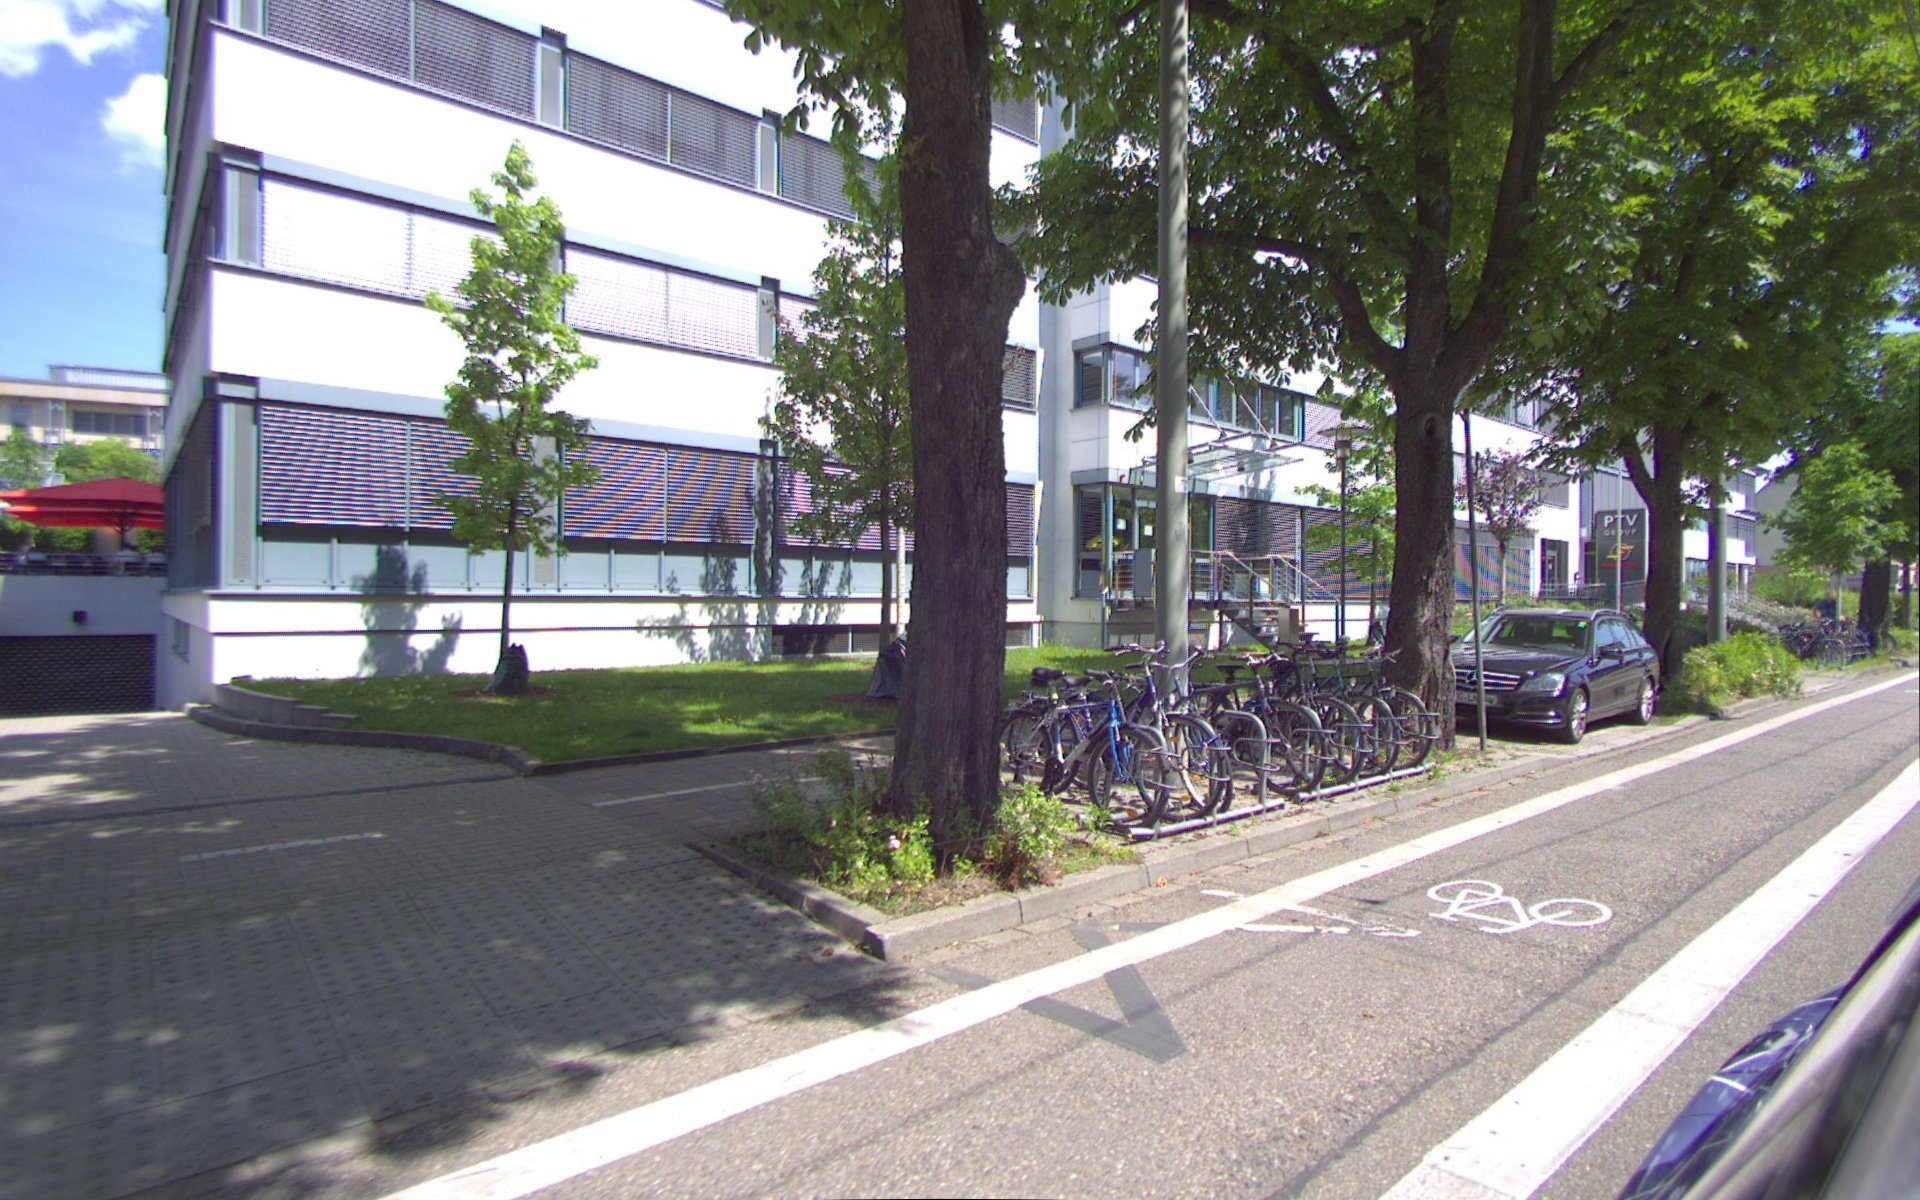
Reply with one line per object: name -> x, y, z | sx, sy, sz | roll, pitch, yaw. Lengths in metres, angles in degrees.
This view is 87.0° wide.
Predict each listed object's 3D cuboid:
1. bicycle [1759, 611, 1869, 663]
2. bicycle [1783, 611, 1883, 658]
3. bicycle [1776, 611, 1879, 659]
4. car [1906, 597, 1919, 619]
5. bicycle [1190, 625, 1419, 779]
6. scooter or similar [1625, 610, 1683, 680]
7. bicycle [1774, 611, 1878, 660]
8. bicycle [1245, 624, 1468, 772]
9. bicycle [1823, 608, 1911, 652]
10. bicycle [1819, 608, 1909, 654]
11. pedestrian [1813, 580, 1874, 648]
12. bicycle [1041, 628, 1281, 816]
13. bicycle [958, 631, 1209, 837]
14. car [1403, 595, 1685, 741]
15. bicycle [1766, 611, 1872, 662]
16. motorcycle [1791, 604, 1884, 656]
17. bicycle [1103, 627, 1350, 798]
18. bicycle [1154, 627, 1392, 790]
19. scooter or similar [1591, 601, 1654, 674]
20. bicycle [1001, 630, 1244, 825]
bicycle -> 19.494, 0.839, 23.135 | 0.560, 1.125, 1.842 | 1, -2, -43
bicycle -> 21.694, 0.840, 25.166 | 0.560, 1.125, 1.809 | 1, -2, -43
bicycle -> 20.866, 0.837, 24.374 | 0.560, 1.125, 1.809 | 1, -2, -43
car -> 79.374, 0.584, 80.986 | 1.967, 1.764, 5.204 | 0, -1, -43
bicycle -> 2.933, 0.822, 8.755 | 1.806, 1.125, 0.528 | 2, 1, 41
scooter or similar -> 12.956, 0.823, 18.885 | 1.361, 1.223, 0.540 | 0, 2, -41
bicycle -> 20.482, 0.830, 23.963 | 0.560, 1.125, 1.809 | 1, -2, -43
bicycle -> 3.501, 0.813, 9.074 | 0.505, 1.125, 1.809 | 0, 1, -43
bicycle -> 25.482, 0.820, 28.462 | 1.813, 1.179, 0.700 | 0, 0, 43
bicycle -> 24.574, 0.819, 27.548 | 1.813, 1.179, 0.700 | 0, 0, 43
pedestrian -> 24.713, 0.387, 28.323 | 0.967, 1.856, 0.786 | 0, -1, 7
bicycle -> 1.389, 0.809, 7.310 | 0.388, 1.125, 1.810 | 0, 1, -43
bicycle -> 0.762, 0.815, 6.787 | 0.441, 1.125, 1.810 | 0, 1, -43
car -> 7.398, 0.703, 12.607 | 4.554, 1.485, 1.679 | 0, 1, -41
bicycle -> 19.984, 0.839, 23.571 | 0.560, 1.125, 1.809 | 1, -2, -43
motorcycle -> 22.829, 0.747, 26.362 | 1.813, 1.293, 0.710 | 0, 0, 43
bicycle -> 2.034, 0.815, 7.875 | 1.803, 1.125, 0.483 | 1, 1, 37
bicycle -> 2.519, 0.825, 8.301 | 1.806, 1.125, 0.525 | 2, 1, 41
scooter or similar -> 11.573, 0.631, 17.668 | 1.361, 1.223, 0.540 | 0, 2, -41
bicycle -> 1.074, 0.815, 7.074 | 0.388, 1.125, 1.810 | 0, 1, -43
